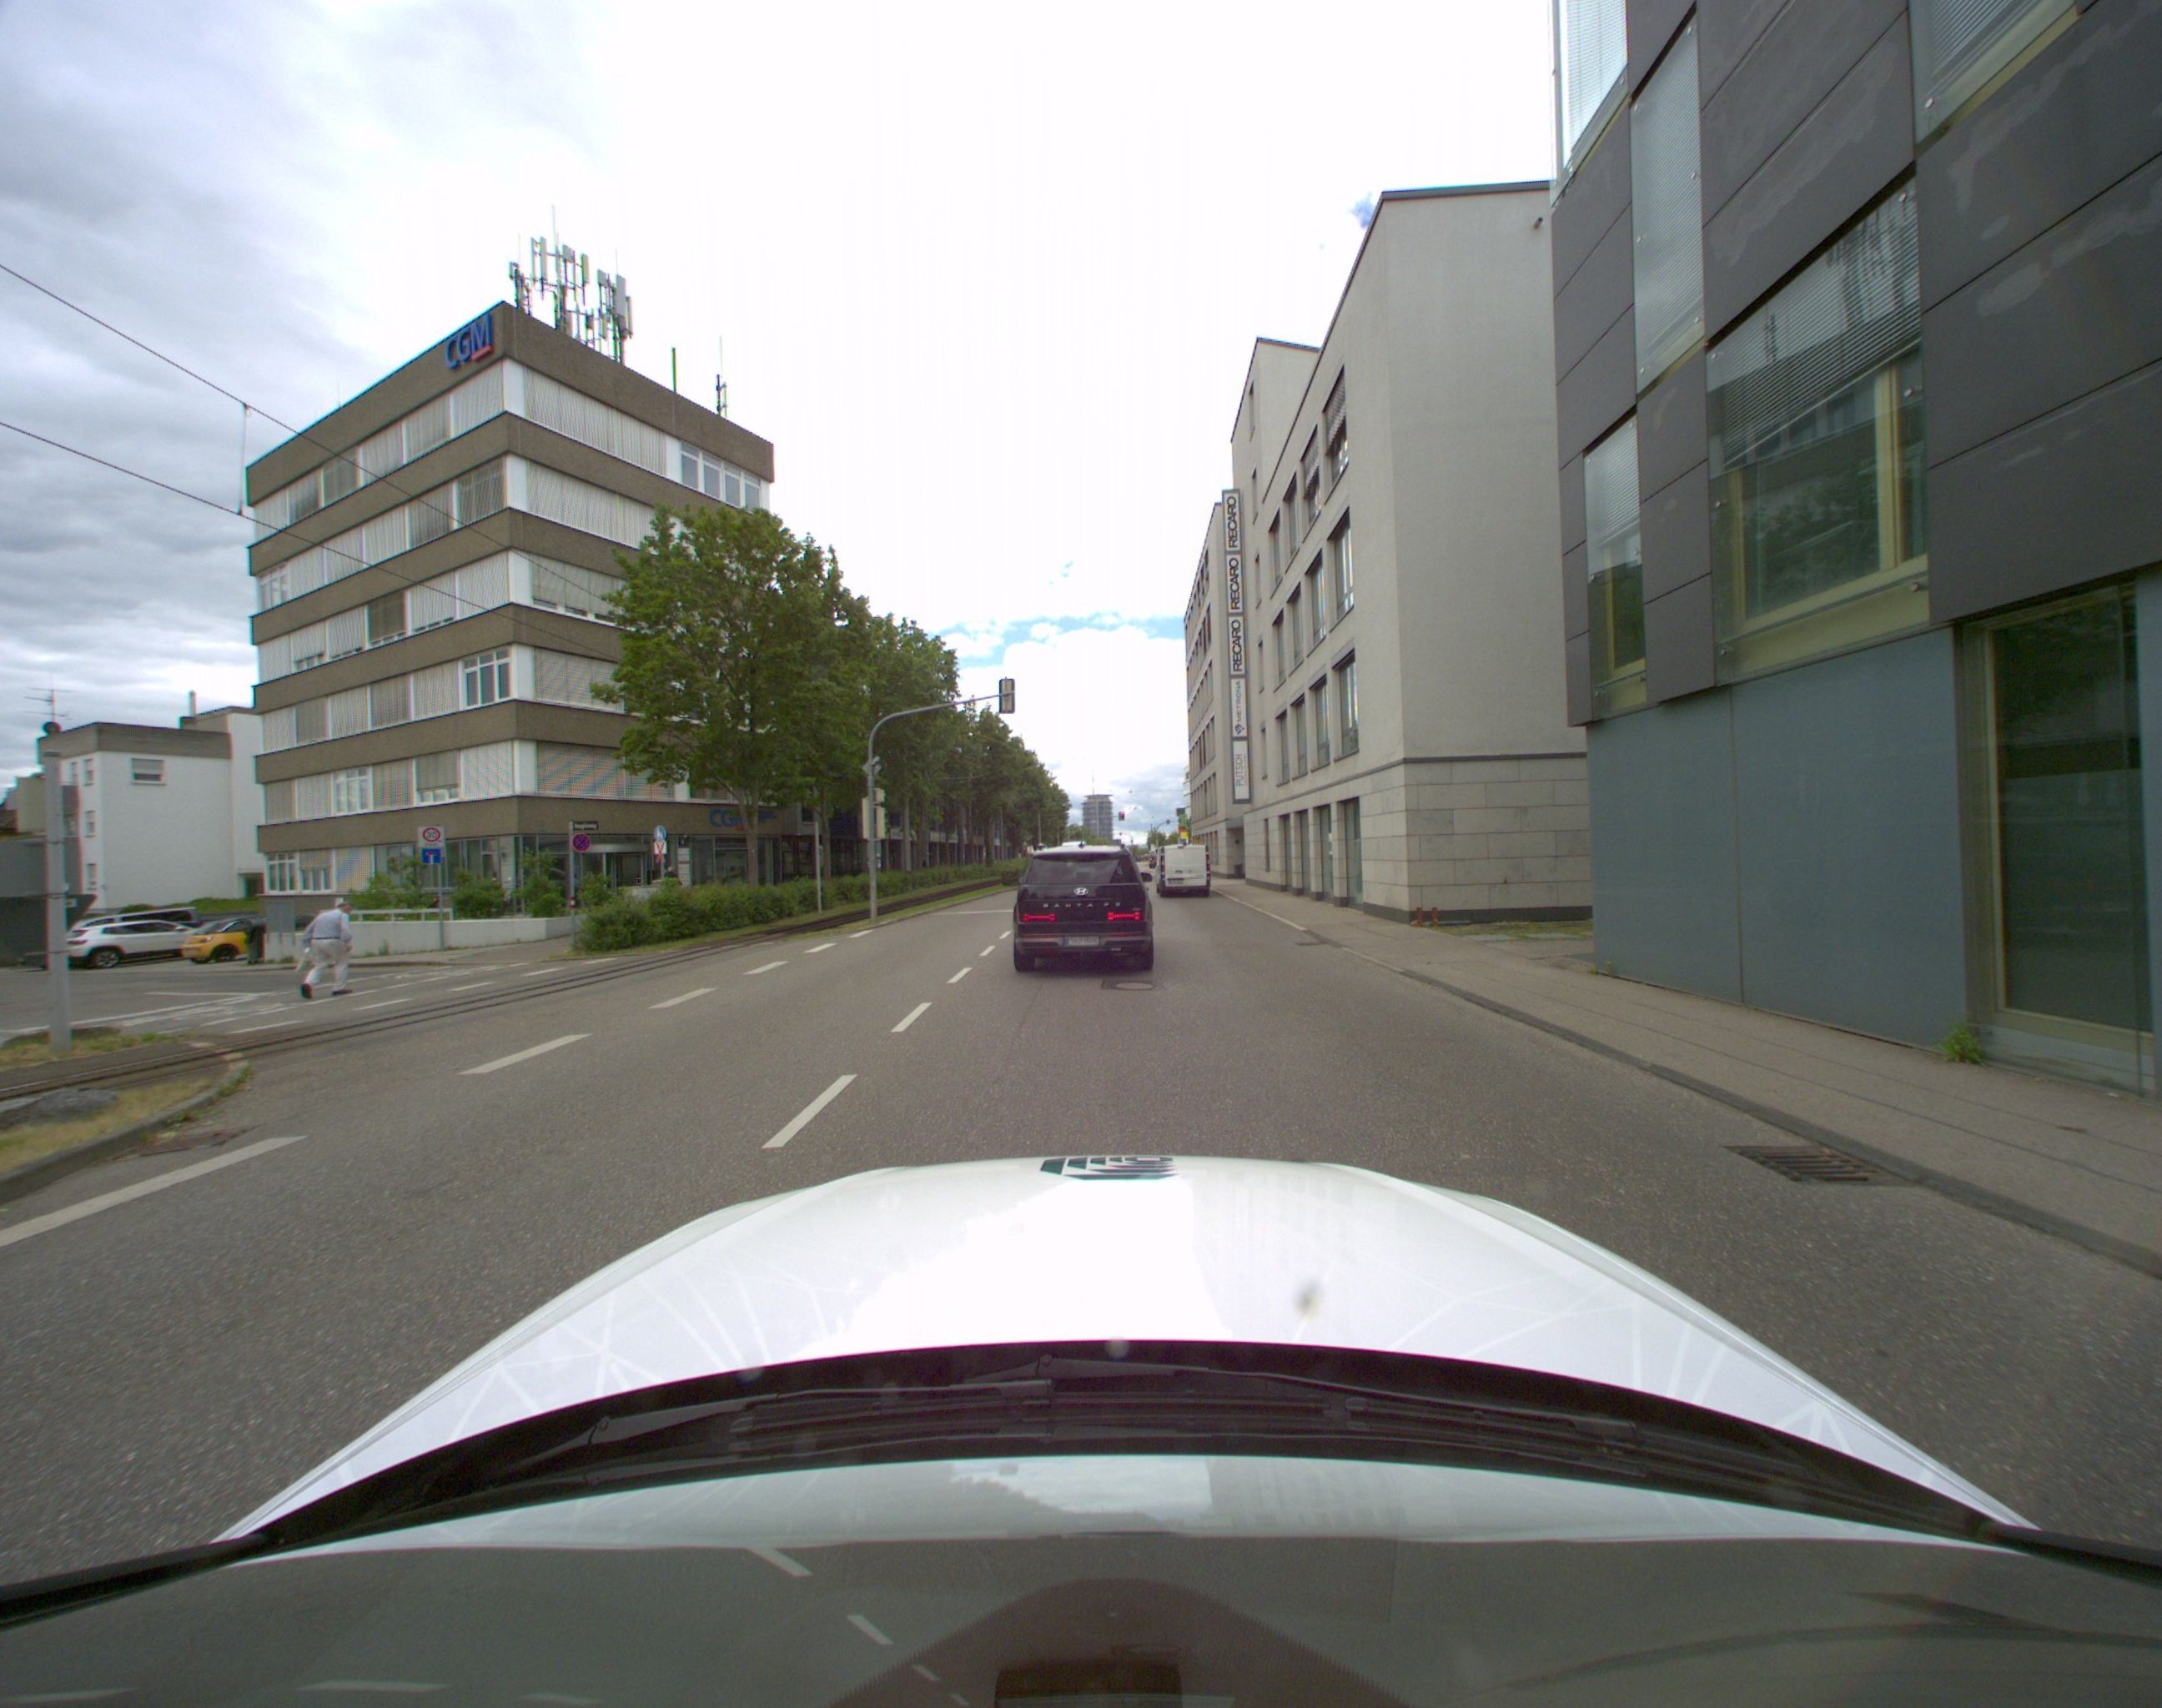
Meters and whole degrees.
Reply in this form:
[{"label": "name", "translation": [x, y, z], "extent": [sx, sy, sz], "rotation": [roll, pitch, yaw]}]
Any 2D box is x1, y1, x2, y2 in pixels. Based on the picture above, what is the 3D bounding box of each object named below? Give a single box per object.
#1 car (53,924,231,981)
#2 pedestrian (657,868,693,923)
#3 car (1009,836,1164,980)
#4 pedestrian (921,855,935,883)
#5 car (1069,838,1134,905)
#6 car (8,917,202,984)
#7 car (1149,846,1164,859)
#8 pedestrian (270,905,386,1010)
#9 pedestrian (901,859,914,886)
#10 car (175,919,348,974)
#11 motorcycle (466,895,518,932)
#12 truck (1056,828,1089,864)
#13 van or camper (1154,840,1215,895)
[{"label": "car", "translation": [-35.887, 3.721, 31.255], "extent": [1.832, 1.574, 4.023], "rotation": [-5, -1, 24]}, {"label": "pedestrian", "translation": [-13.027, 1.323, 26.146], "extent": [0.684, 1.705, 0.683], "rotation": [-4, 0, 5]}, {"label": "car", "translation": [-0.005, 0.669, 12.307], "extent": [1.904, 1.749, 4.393], "rotation": [-1, 0, -2]}, {"label": "pedestrian", "translation": [-10.898, 1.060, 58.015], "extent": [0.672, 1.908, 0.622], "rotation": [-4, 0, 3]}, {"label": "car", "translation": [0.633, 0.546, 27.736], "extent": [1.926, 1.994, 4.534], "rotation": [-3, 0, 0]}, {"label": "car", "translation": [-40.037, 3.903, 33.589], "extent": [1.832, 2.068, 4.714], "rotation": [-5, -1, 24]}, {"label": "car", "translation": [9.935, -0.180, 107.223], "extent": [1.750, 1.609, 4.195], "rotation": [-3, 0, 6]}, {"label": "pedestrian", "translation": [-12.295, 1.662, 13.332], "extent": [0.844, 1.526, 0.996], "rotation": [-4, 0, 1]}, {"label": "pedestrian", "translation": [-13.179, 1.393, 61.887], "extent": [0.678, 2.013, 0.571], "rotation": [-4, 0, 3]}, {"label": "car", "translation": [-29.619, 3.315, 29.599], "extent": [1.709, 1.425, 4.023], "rotation": [-5, -1, 24]}, {"label": "motorcycle", "translation": [-20.295, 2.051, 28.060], "extent": [1.861, 1.199, 0.571], "rotation": [-3, 0, 26]}, {"label": "truck", "translation": [-0.592, -0.621, 64.683], "extent": [2.157, 2.615, 5.799], "rotation": [-3, 0, 2]}, {"label": "van or camper", "translation": [3.913, 0.478, 31.531], "extent": [1.985, 1.915, 4.335], "rotation": [-2, 0, 3]}]
